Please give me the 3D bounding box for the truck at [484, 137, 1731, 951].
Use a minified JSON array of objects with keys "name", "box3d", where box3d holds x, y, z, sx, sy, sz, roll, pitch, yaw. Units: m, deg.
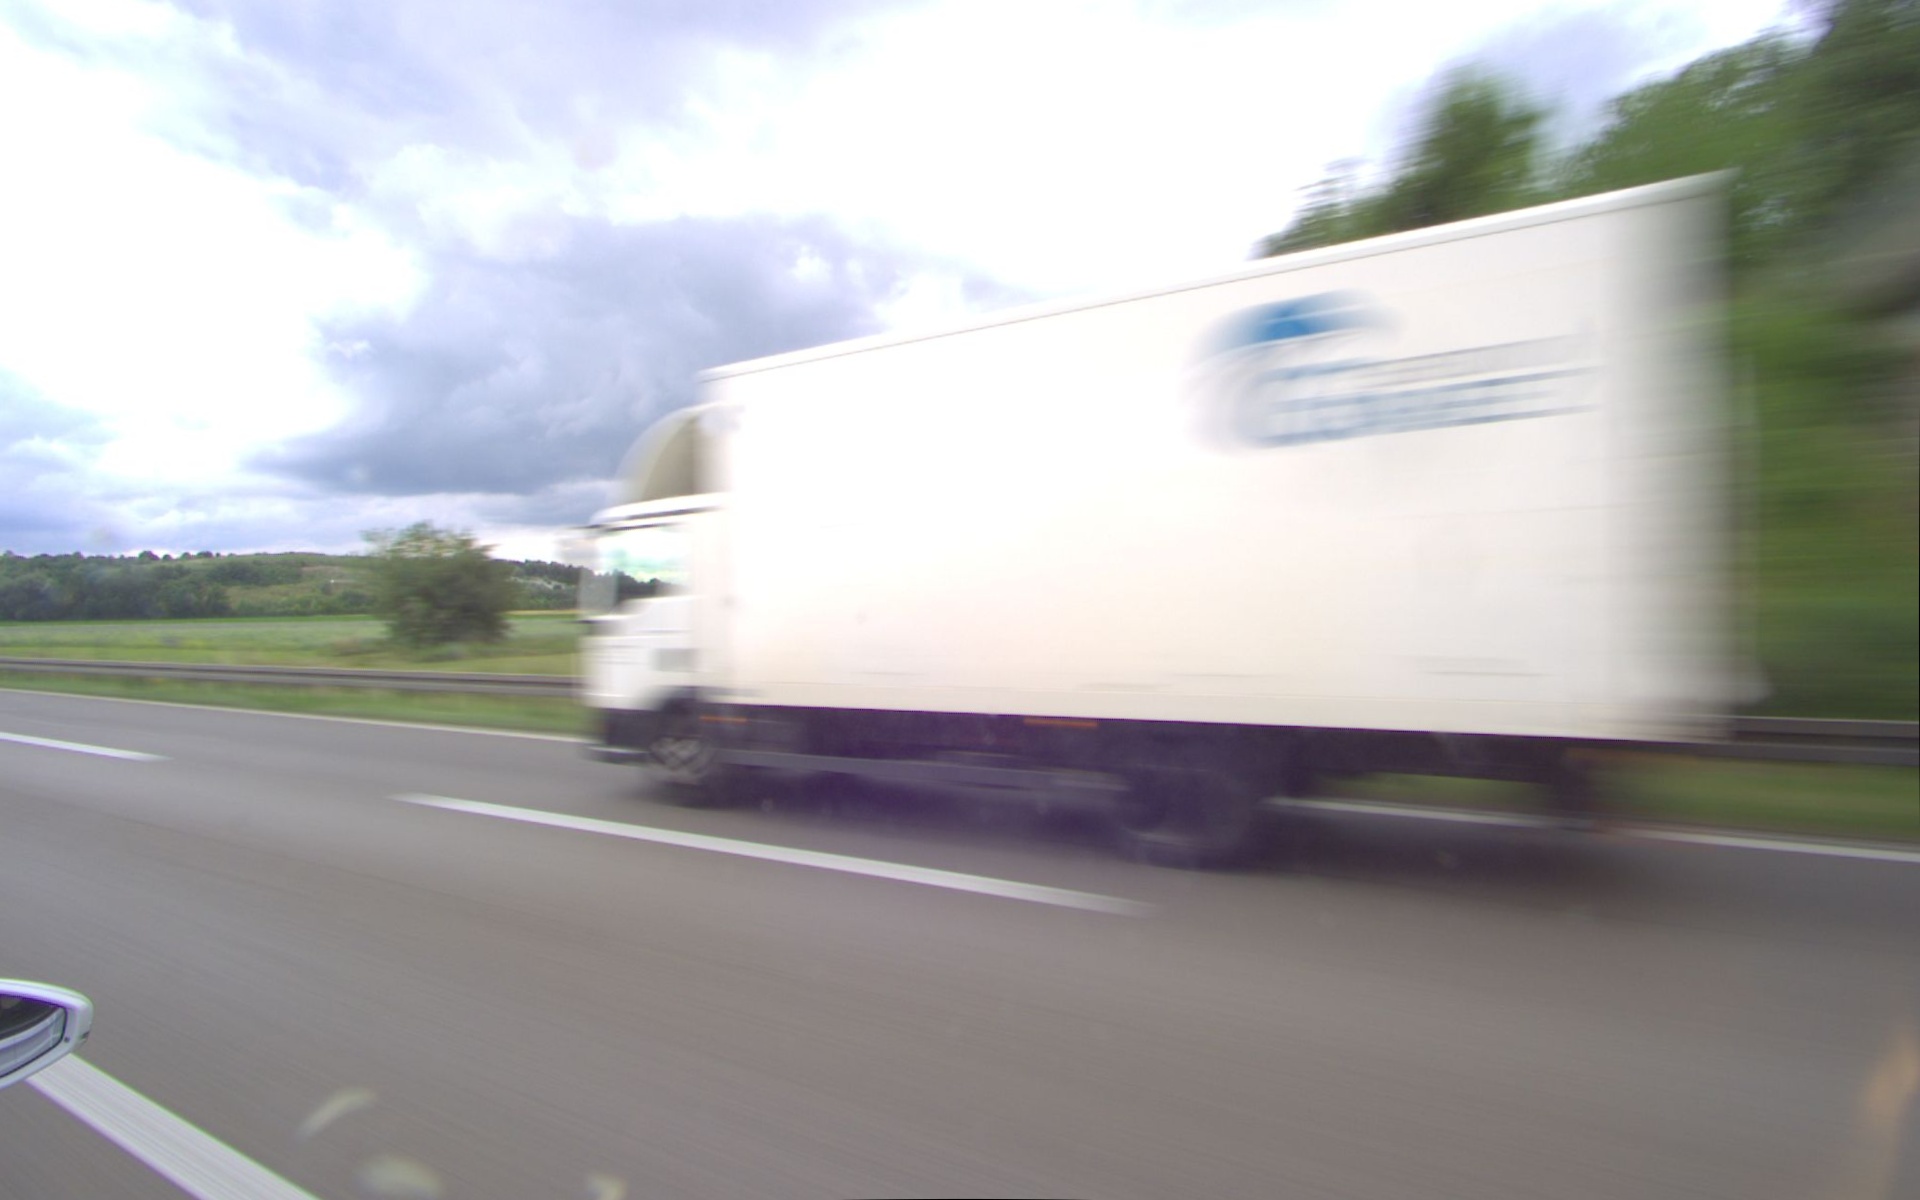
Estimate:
[{"name":"truck","box3d":[0.340,-0.137,7.925,8.760,3.515,3.101,-1,-2,31]}]
